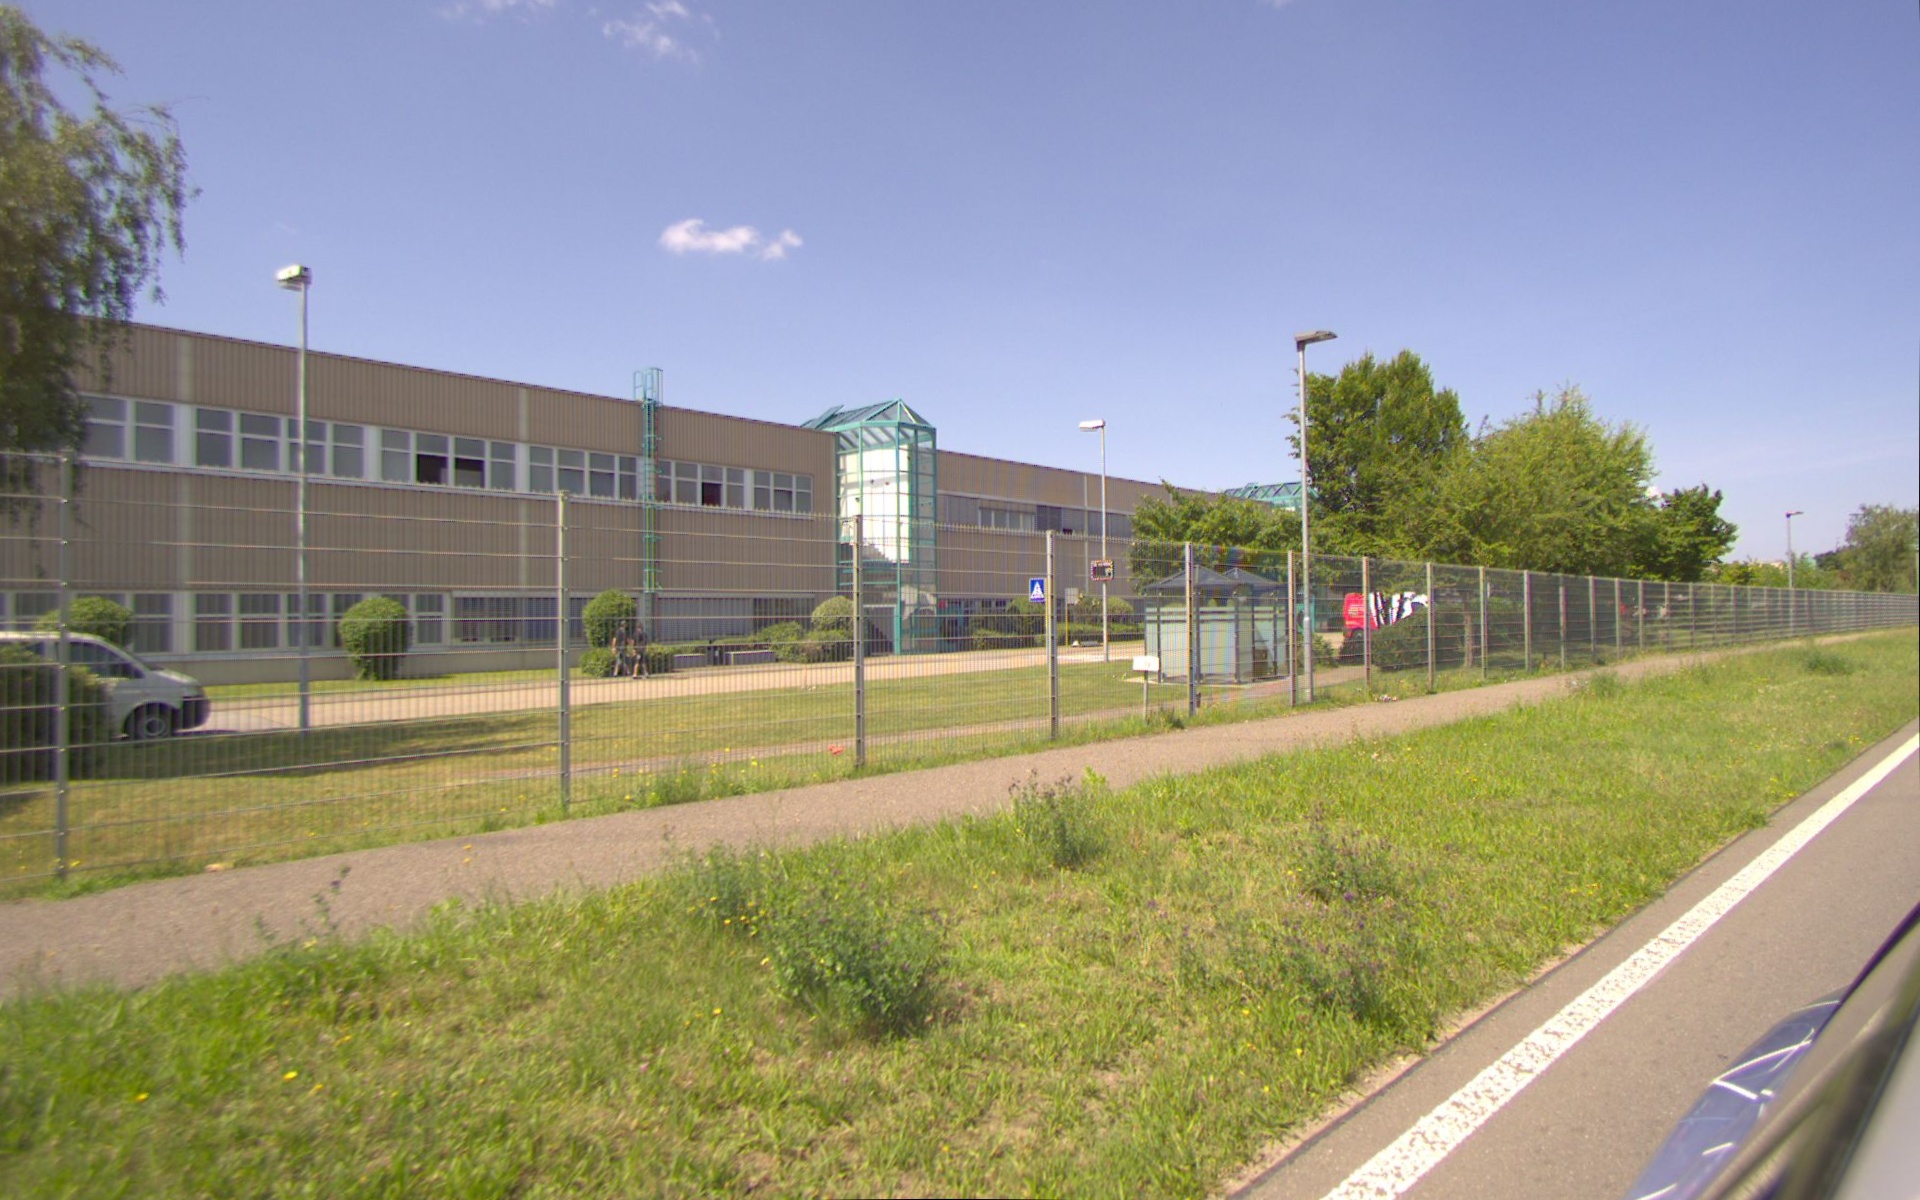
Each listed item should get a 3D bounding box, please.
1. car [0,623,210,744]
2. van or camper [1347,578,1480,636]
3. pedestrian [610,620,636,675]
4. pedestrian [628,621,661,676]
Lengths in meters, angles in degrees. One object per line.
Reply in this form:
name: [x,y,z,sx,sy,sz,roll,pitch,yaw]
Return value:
car: [-15.630,1.330,16.165,2.107,1.802,5.571,-2,-1,41]
van or camper: [23.063,0.422,51.673,5.766,2.551,1.969,-6,-4,43]
pedestrian: [-10.788,1.519,32.432,0.652,1.738,0.487,0,-2,-41]
pedestrian: [-9.990,1.527,32.043,0.822,1.691,0.548,0,-2,-43]
